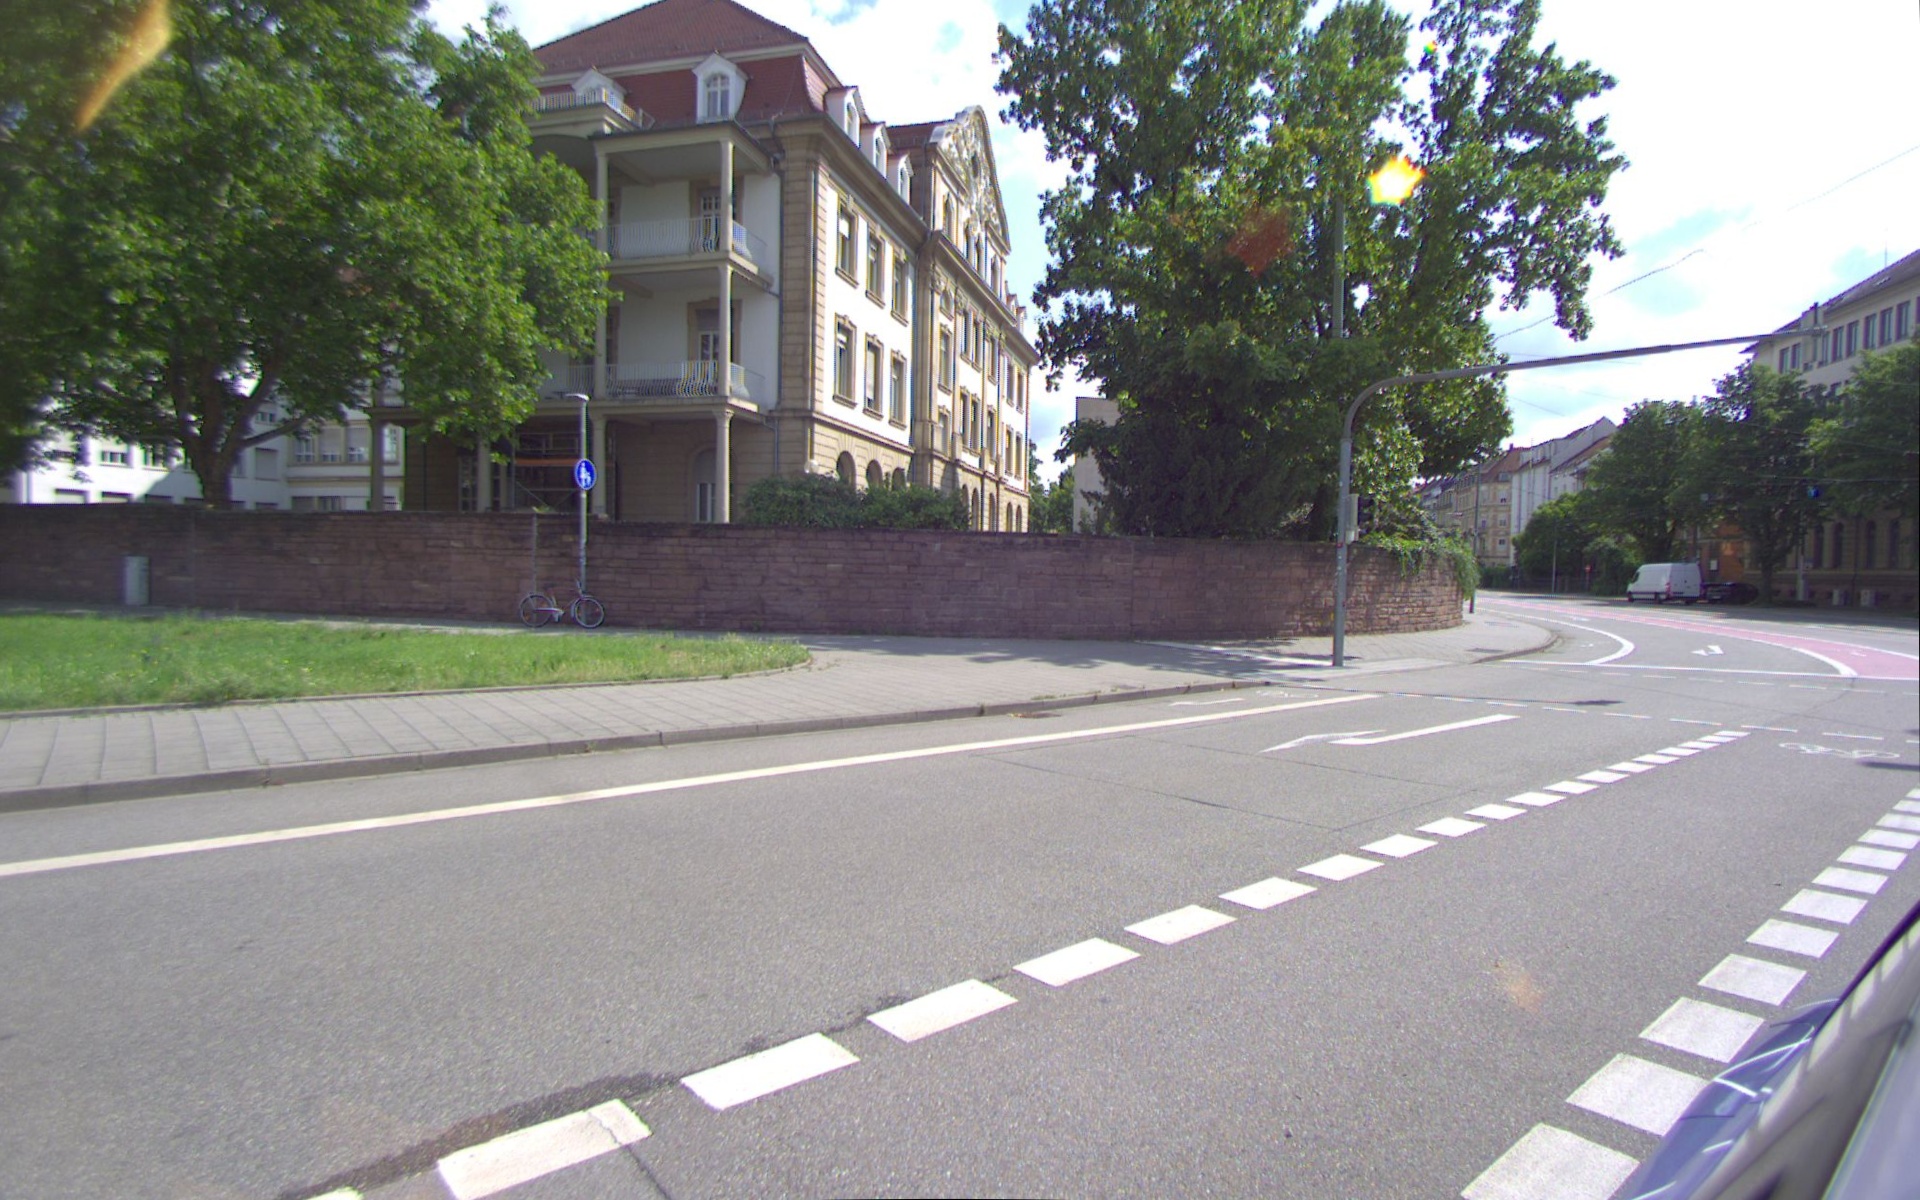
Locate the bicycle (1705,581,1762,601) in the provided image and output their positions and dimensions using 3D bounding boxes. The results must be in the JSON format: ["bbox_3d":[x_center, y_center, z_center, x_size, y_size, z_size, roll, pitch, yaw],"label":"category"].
[{"bbox_3d":[52.892,-0.644,69.251,1.030,1.221,2.898,-4,4,-32],"label":"bicycle"}]

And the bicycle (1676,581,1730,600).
[{"bbox_3d":[53.055,-0.676,72.293,1.052,1.221,2.898,-4,4,-32],"label":"bicycle"}]

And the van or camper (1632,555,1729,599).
[{"bbox_3d":[46.991,-1.538,66.269,2.934,2.634,6.728,2,2,15],"label":"van or camper"}]

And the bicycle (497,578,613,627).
[{"bbox_3d":[-8.168,0.040,20.462,2.024,0.871,0.858,2,4,4],"label":"bicycle"}]
